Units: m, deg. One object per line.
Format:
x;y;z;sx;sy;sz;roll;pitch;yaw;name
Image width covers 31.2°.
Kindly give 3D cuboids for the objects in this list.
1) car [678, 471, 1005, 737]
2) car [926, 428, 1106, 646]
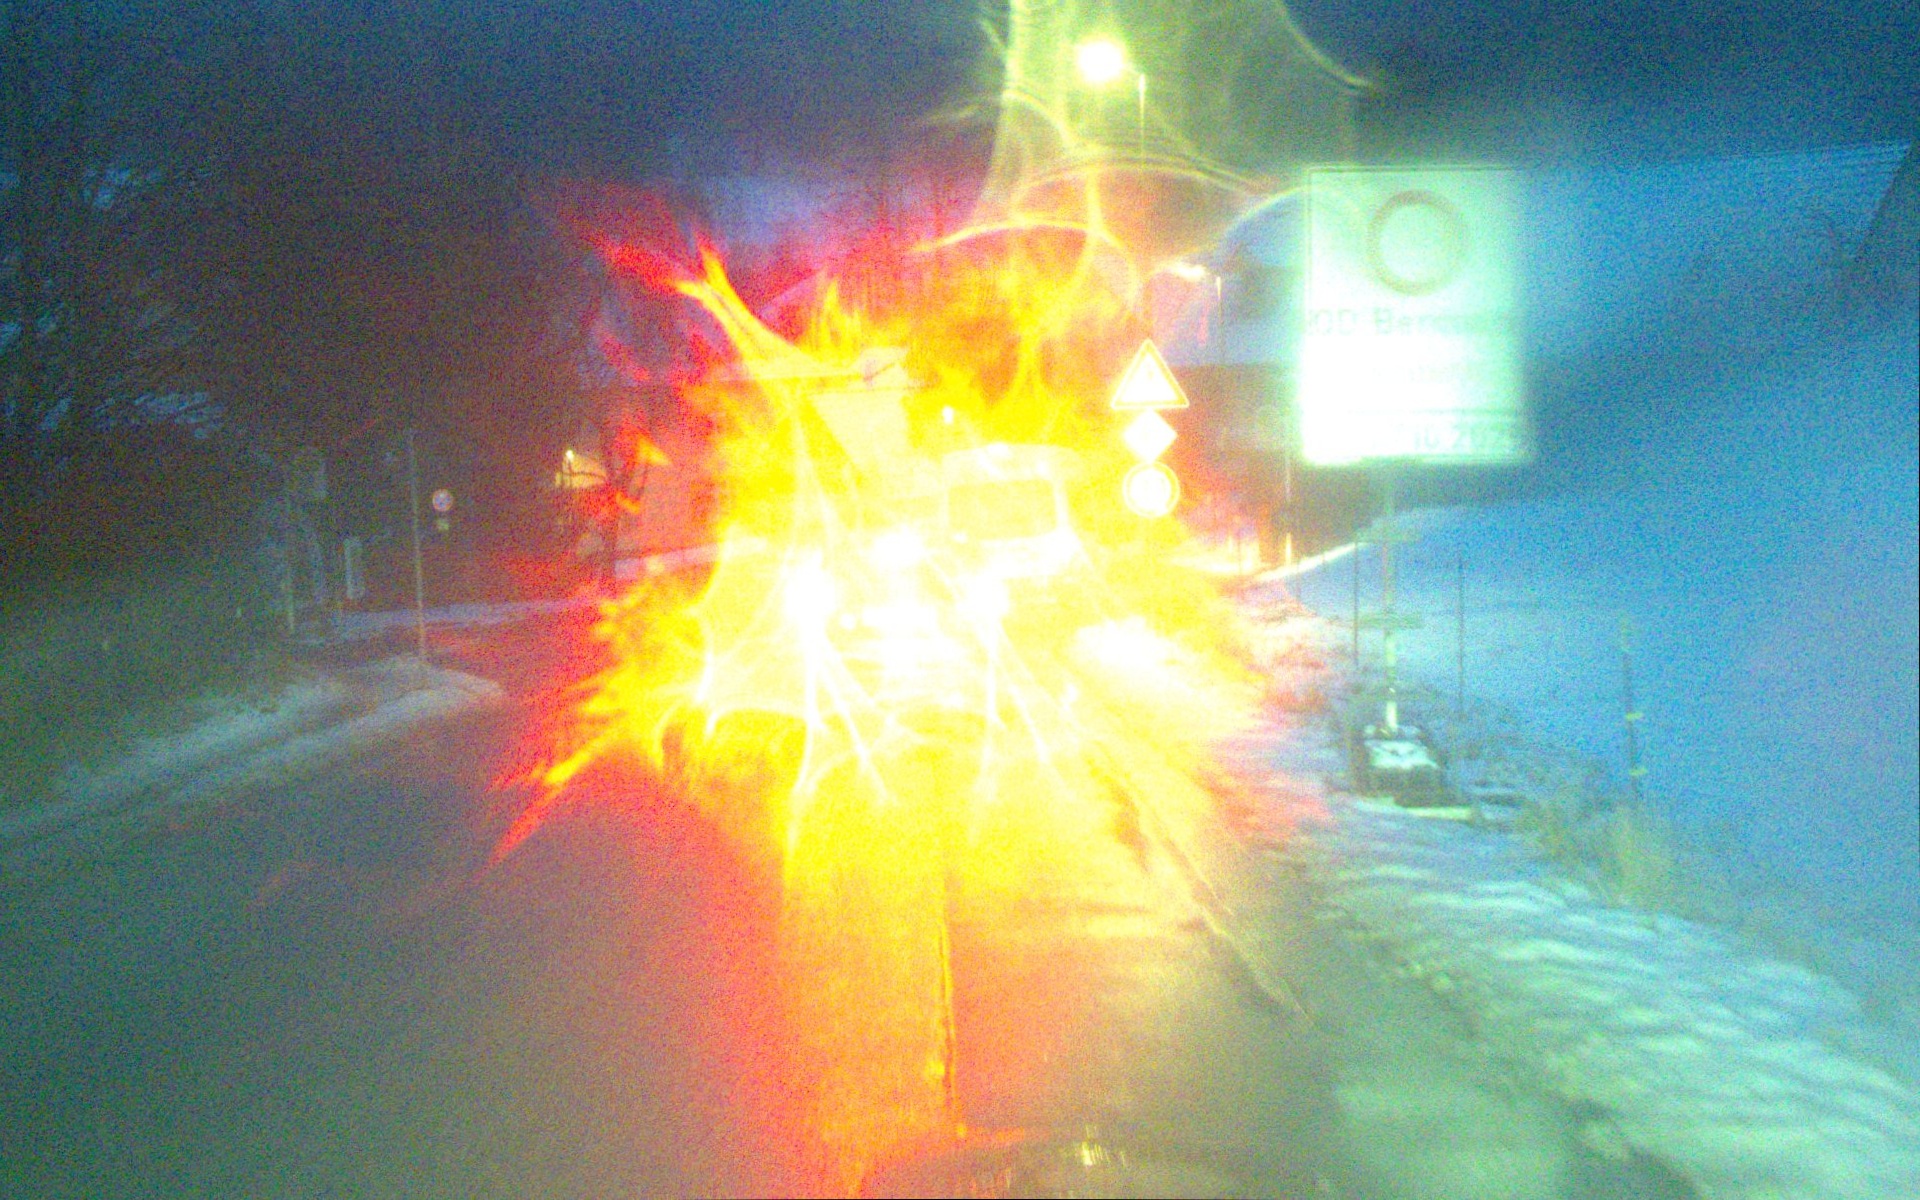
-0.934;-0.025;26.904;2.274;1.834;5.007;-1;1;-2;car
0.848;-0.908;52.186;2.435;3.008;5.325;-3;0;1;car
